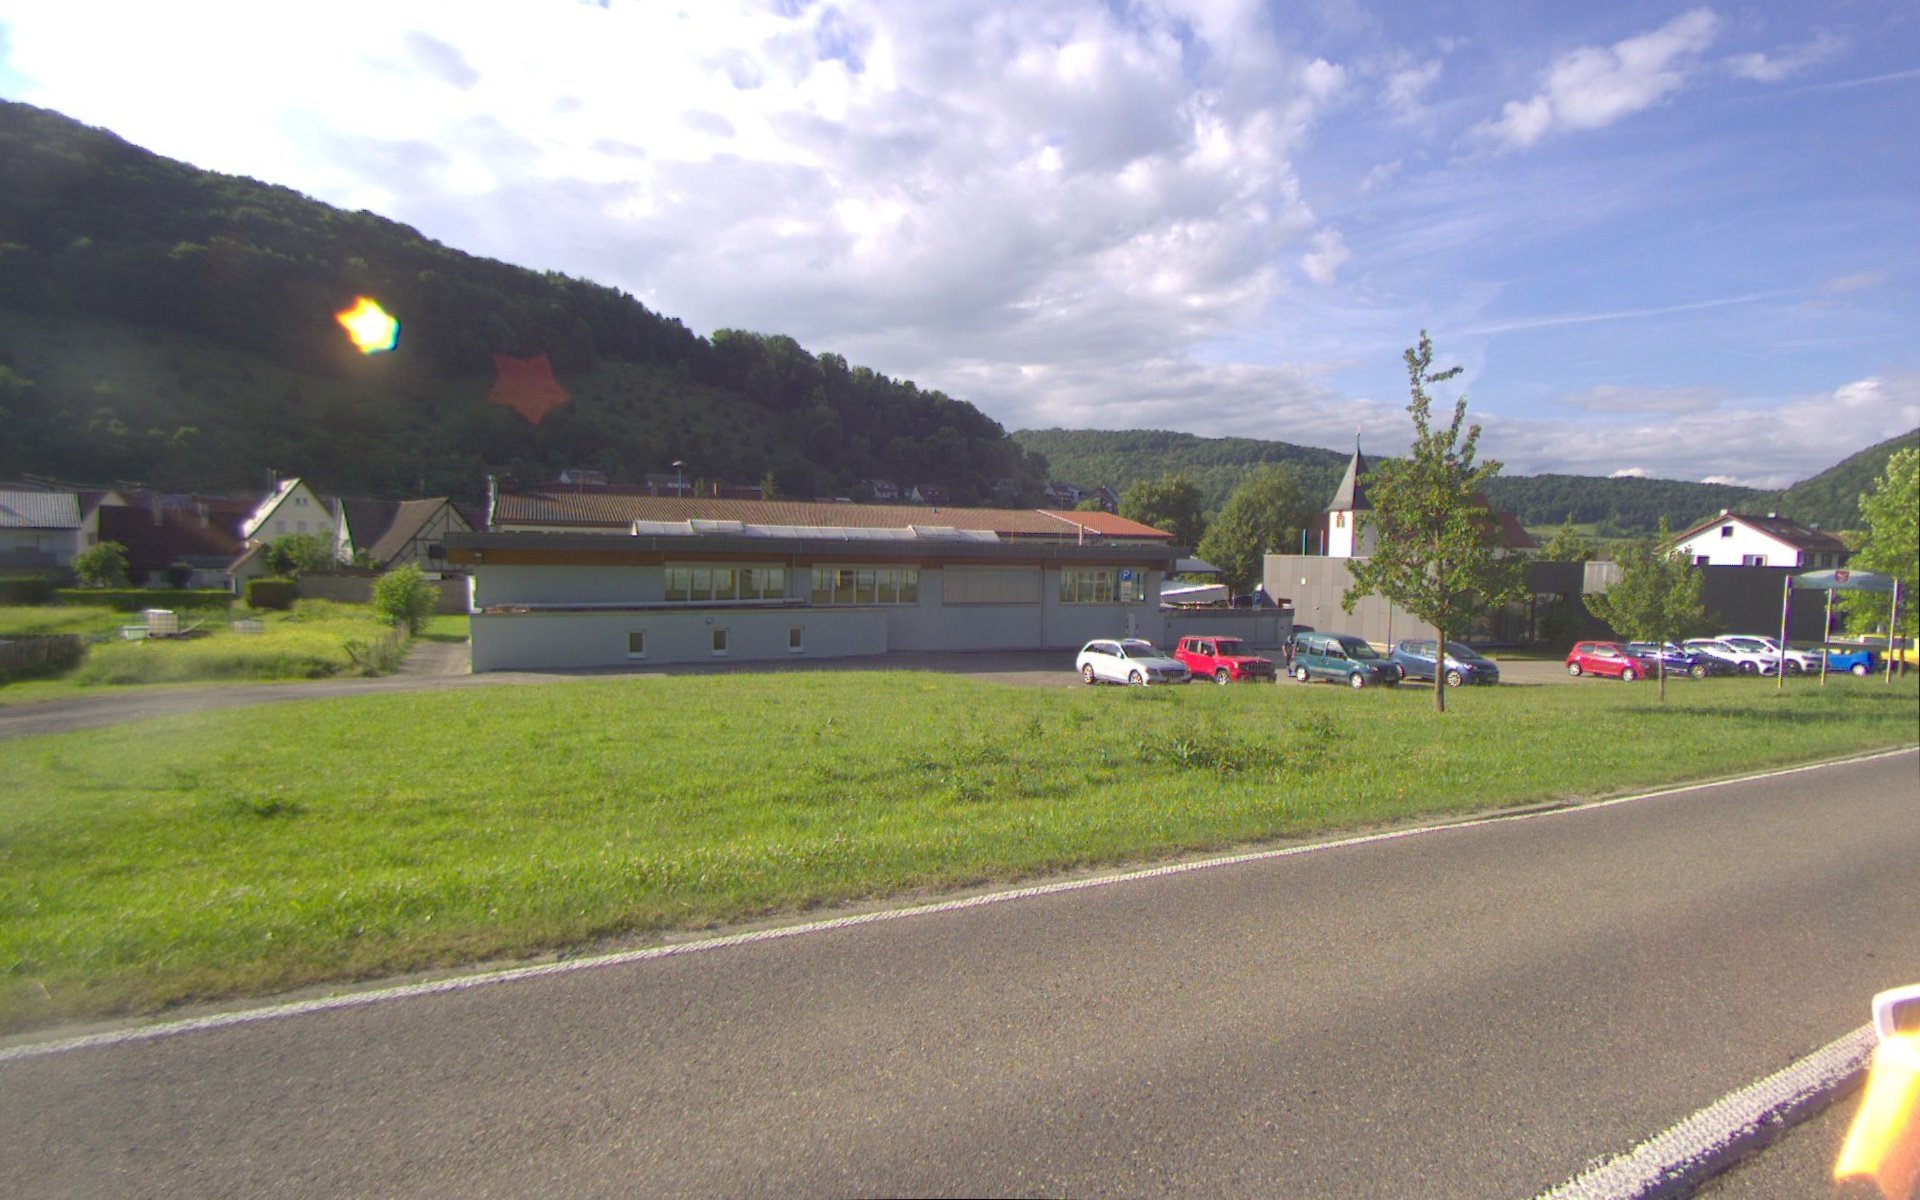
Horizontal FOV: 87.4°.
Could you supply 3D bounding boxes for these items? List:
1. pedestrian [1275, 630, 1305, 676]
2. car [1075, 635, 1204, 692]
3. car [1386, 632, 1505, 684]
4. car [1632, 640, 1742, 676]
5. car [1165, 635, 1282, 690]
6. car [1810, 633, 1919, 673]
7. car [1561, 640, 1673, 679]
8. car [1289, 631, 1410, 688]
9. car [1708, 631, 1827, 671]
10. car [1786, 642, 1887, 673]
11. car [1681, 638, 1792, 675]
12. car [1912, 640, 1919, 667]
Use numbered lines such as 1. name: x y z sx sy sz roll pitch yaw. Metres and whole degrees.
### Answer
1. pedestrian: 12.711 2.047 38.738 0.697 1.716 0.790 1 1 -30
2. car: 5.777 2.018 33.017 1.972 1.610 4.630 1 -1 -23
3. car: 17.975 2.120 37.339 1.707 1.745 3.809 1 -1 -23
4. car: 31.547 2.479 43.704 1.573 1.423 3.617 1 -1 -22
5. car: 8.691 2.023 33.454 1.731 1.600 3.910 1 -1 -23
6. car: 45.190 2.568 49.665 1.814 1.839 4.544 1 -1 -22
7. car: 27.083 2.421 41.535 1.624 1.463 3.617 1 -1 -22
8. car: 13.760 2.050 35.676 1.732 1.745 3.850 1 0 -25
9. car: 37.294 2.332 46.493 1.573 1.695 4.069 1 -1 -22
10. car: 42.702 2.770 48.993 1.640 1.392 3.354 1 -1 -30
11. car: 34.527 2.469 44.747 1.573 1.513 3.659 1 -1 -22
12. car: 54.053 2.950 54.156 1.487 1.458 3.705 1 -1 -22
